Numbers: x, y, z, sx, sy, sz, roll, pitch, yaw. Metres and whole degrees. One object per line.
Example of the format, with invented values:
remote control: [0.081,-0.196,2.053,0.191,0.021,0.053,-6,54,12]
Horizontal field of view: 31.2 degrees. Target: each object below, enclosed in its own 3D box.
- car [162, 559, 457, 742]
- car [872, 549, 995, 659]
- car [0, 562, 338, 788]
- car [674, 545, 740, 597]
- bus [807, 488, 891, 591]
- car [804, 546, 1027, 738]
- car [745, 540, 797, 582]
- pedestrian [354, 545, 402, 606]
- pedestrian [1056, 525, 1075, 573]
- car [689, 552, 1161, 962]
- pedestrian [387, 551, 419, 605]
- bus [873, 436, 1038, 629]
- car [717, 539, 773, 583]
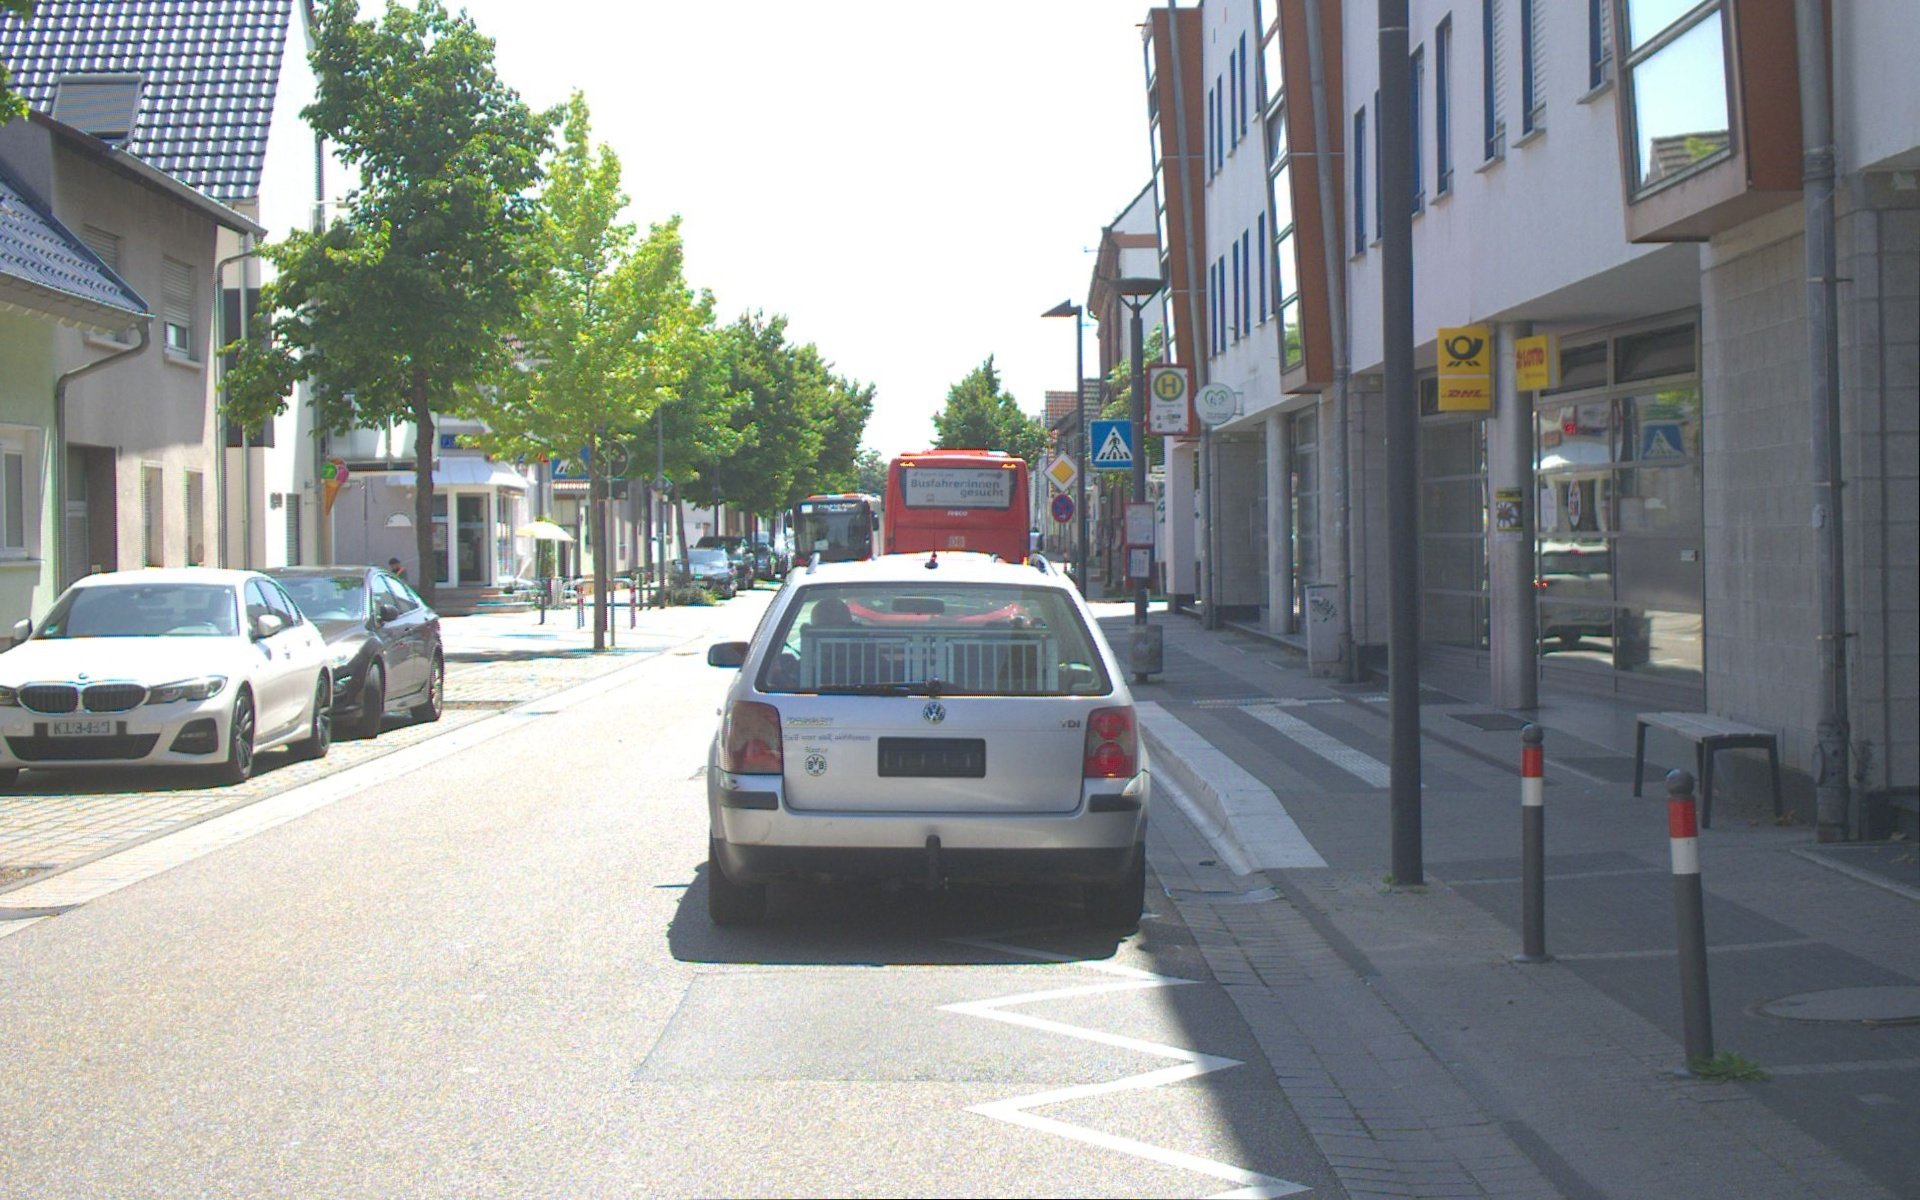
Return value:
car: [-5.590,0.384,30.064,1.660,1.432,4.538,-1,1,1]
car: [-0.331,0.028,47.045,1.593,1.425,3.679,1,1,1]
car: [-5.684,0.460,24.501,1.720,1.432,4.460,0,1,0]
car: [-7.242,-0.856,98.688,1.605,1.433,4.065,-1,1,-1]
bus: [-3.957,-2.258,120.426,2.668,3.113,17.810,-1,2,-2]
car: [-0.357,0.298,28.393,1.677,1.425,3.680,2,1,0]
car: [-7.243,-1.506,131.920,1.811,1.553,4.000,-1,1,-1]
pedestrian: [-12.516,-0.525,73.936,0.634,1.284,0.789,1,1,-43]
pedestrian: [3.735,-1.801,121.278,0.606,1.661,0.789,-1,1,-2]
car: [-0.139,0.548,14.374,1.677,1.425,3.680,2,1,0]
pedestrian: [-12.208,-0.486,75.371,0.622,1.175,0.697,-1,1,-4]
bus: [-0.232,-1.236,64.858,2.740,3.287,12.706,0,1,-2]
car: [-7.853,-1.437,125.814,1.811,1.553,4.000,-1,1,-1]
